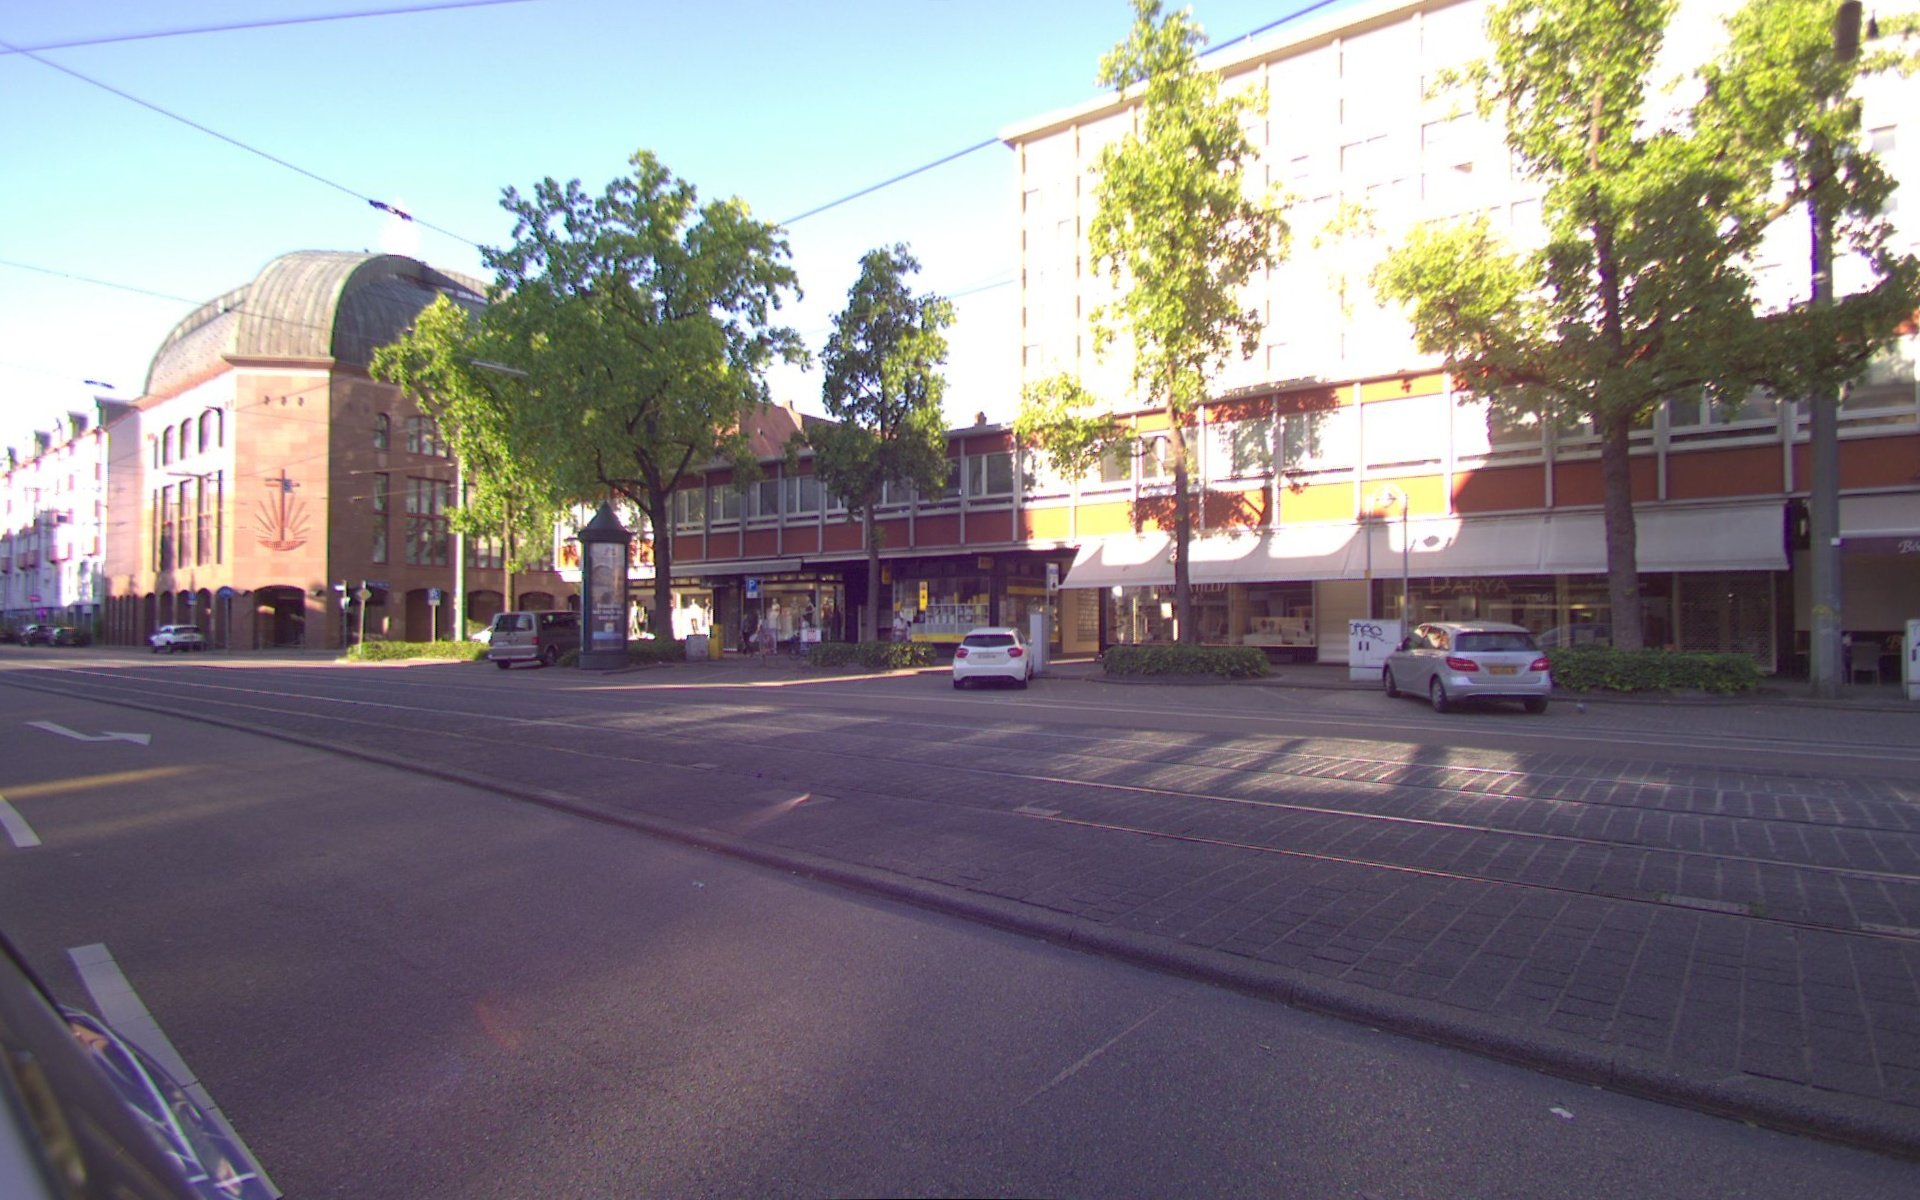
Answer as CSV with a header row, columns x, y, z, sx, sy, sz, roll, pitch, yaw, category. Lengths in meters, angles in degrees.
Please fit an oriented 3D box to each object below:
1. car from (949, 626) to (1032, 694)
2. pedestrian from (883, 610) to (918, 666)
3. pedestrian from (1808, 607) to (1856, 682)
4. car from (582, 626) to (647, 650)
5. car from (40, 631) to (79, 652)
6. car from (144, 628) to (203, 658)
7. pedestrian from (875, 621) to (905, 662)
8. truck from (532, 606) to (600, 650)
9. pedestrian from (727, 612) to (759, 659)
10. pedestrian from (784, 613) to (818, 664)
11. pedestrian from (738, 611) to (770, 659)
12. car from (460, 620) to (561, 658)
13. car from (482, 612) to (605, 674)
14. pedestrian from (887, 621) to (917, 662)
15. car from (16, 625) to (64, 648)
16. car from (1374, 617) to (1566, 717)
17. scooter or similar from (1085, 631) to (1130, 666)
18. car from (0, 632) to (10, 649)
x,y,z,sx,sy,sz,roll,pitch,yaw,category
0.849,1.430,25.403,1.745,1.440,4.262,-1,0,6,car
-2.035,1.295,34.508,0.903,1.892,0.903,1,-2,-24,pedestrian
18.941,0.954,21.998,0.705,1.575,0.864,-2,-2,38,pedestrian
-23.533,2.552,68.912,4.519,1.585,1.835,-1,-2,34,car
-66.522,3.041,74.750,3.679,1.411,1.626,-1,-1,39,car
-45.312,2.428,58.291,4.269,1.602,1.581,-1,0,36,car
-2.567,1.511,37.005,0.898,1.509,0.681,-1,-2,36,pedestrian
-25.705,1.844,65.989,4.519,2.784,1.835,-1,-2,34,truck
-8.889,1.464,41.454,0.898,1.892,0.908,-1,-2,36,pedestrian
-5.939,1.430,37.862,0.898,1.892,0.908,-1,-2,36,pedestrian
-8.642,1.465,42.543,0.898,1.963,0.984,-1,-2,36,pedestrian
-26.021,2.213,58.697,2.128,1.982,4.934,2,0,36,car
-14.683,1.459,36.023,1.831,1.943,5.112,0,0,6,car
-2.160,1.537,37.583,0.898,1.481,0.681,-1,-2,36,pedestrian
-71.806,2.832,79.004,4.552,1.713,1.941,-1,-1,37,car
9.281,1.143,18.840,1.805,1.578,4.271,0,0,7,car
4.724,1.545,32.417,1.335,1.102,0.470,-1,-1,36,scooter or similar
-86.728,3.620,90.584,4.555,1.520,1.807,-1,-1,38,car
